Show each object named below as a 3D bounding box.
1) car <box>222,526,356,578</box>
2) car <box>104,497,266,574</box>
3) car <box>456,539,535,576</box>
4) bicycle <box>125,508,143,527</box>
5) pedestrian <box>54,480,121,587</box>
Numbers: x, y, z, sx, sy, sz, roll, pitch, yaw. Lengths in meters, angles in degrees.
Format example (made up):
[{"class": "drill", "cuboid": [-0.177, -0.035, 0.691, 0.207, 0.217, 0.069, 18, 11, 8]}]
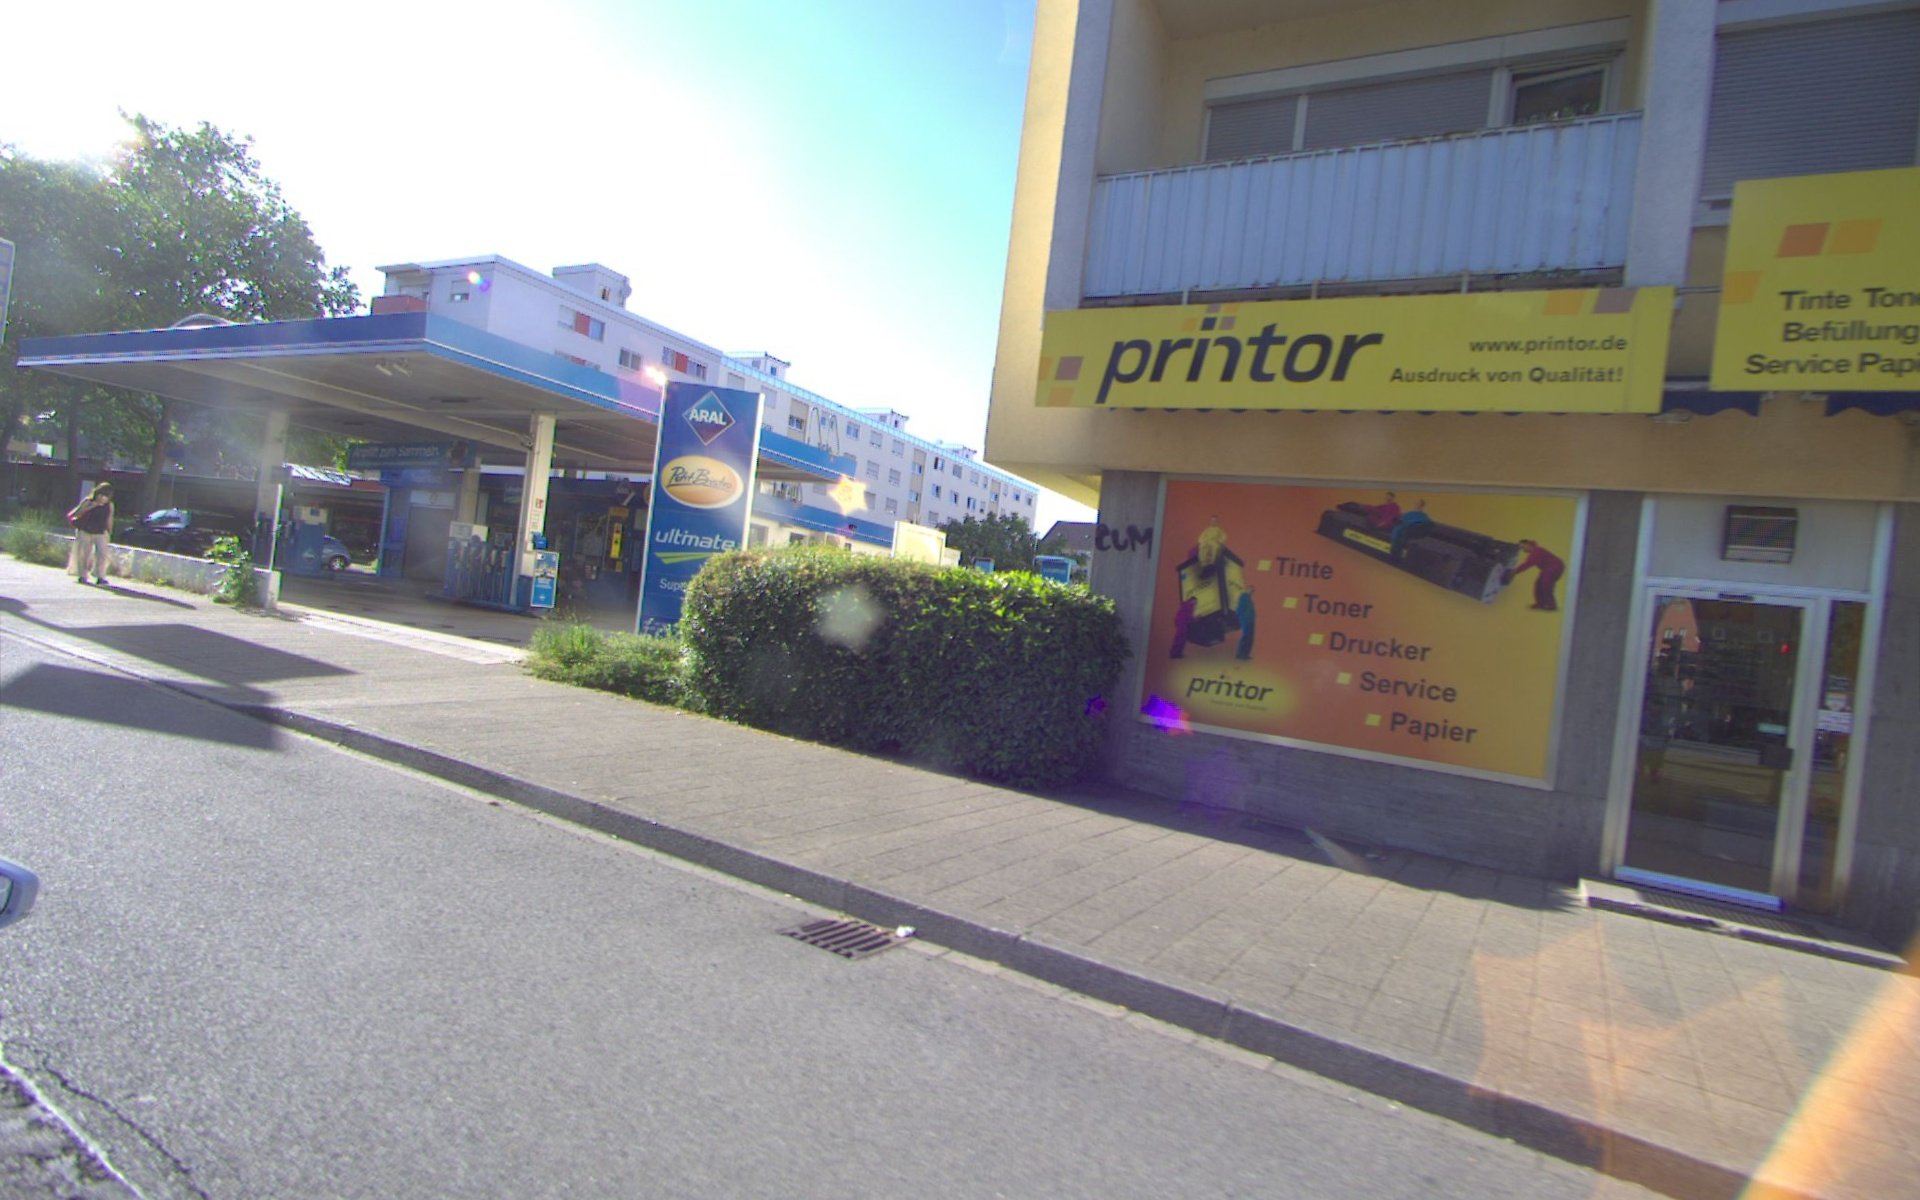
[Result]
[{"class": "car", "cuboid": [-28.307, -1.988, 42.556, 1.950, 1.549, 4.199, 7, -1, 30]}, {"class": "car", "cuboid": [-20.514, -1.703, 26.620, 3.934, 1.480, 1.725, 7, -1, 26]}, {"class": "car", "cuboid": [-25.513, -2.346, 55.219, 4.045, 1.521, 1.873, 7, -1, 31]}, {"class": "bicycle", "cuboid": [-59.644, -5.928, 72.654, 0.593, 1.193, 1.836, 8, -2, -30]}, {"class": "pedestrian", "cuboid": [-14.831, -1.124, 17.109, 0.544, 1.722, 0.604, 7, 0, 36]}]
